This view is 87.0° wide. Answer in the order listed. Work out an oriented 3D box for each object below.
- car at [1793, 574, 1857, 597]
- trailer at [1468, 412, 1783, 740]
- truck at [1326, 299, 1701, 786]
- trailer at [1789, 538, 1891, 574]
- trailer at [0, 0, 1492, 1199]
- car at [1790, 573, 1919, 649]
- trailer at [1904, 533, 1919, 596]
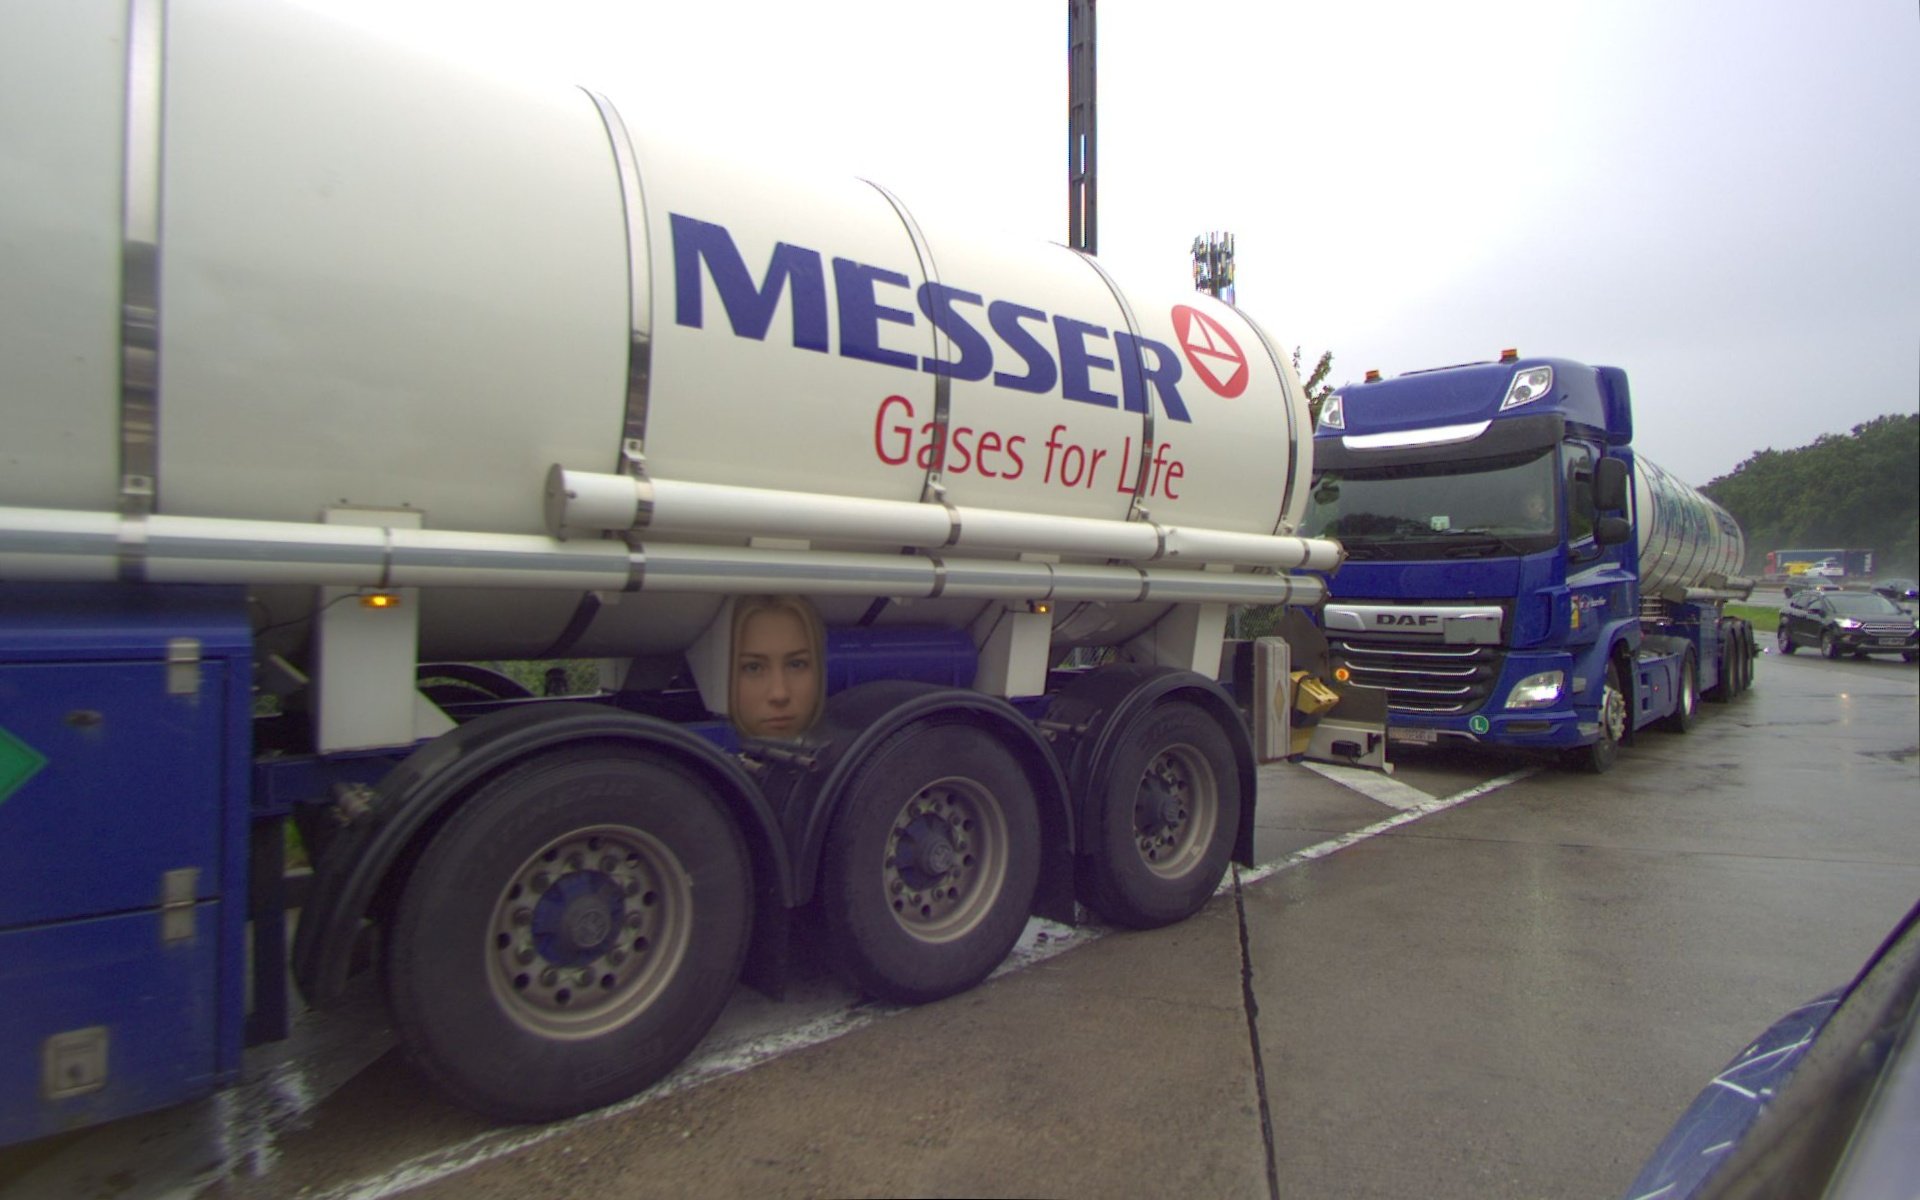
[{"bbox_3d":[63.077,-1.050,73.872,1.760,1.579,4.085,0,0,11],"label":"car"},{"bbox_3d":[9.981,-0.316,14.475,1.980,3.265,10.159,0,1,44],"label":"trailer"},{"bbox_3d":[5.561,-0.458,9.837,2.053,3.575,4.671,0,0,44],"label":"truck"},{"bbox_3d":[94.690,-4.756,109.275,2.163,3.540,13.090,-3,1,12],"label":"trailer"},{"bbox_3d":[-1.859,-0.333,3.220,10.061,3.484,2.137,-1,1,-36],"label":"trailer"},{"bbox_3d":[22.218,0.211,24.839,1.792,1.560,3.968,-4,1,25],"label":"car"},{"bbox_3d":[54.048,-1.829,50.876,2.653,3.548,15.061,-3,1,15],"label":"trailer"}]
